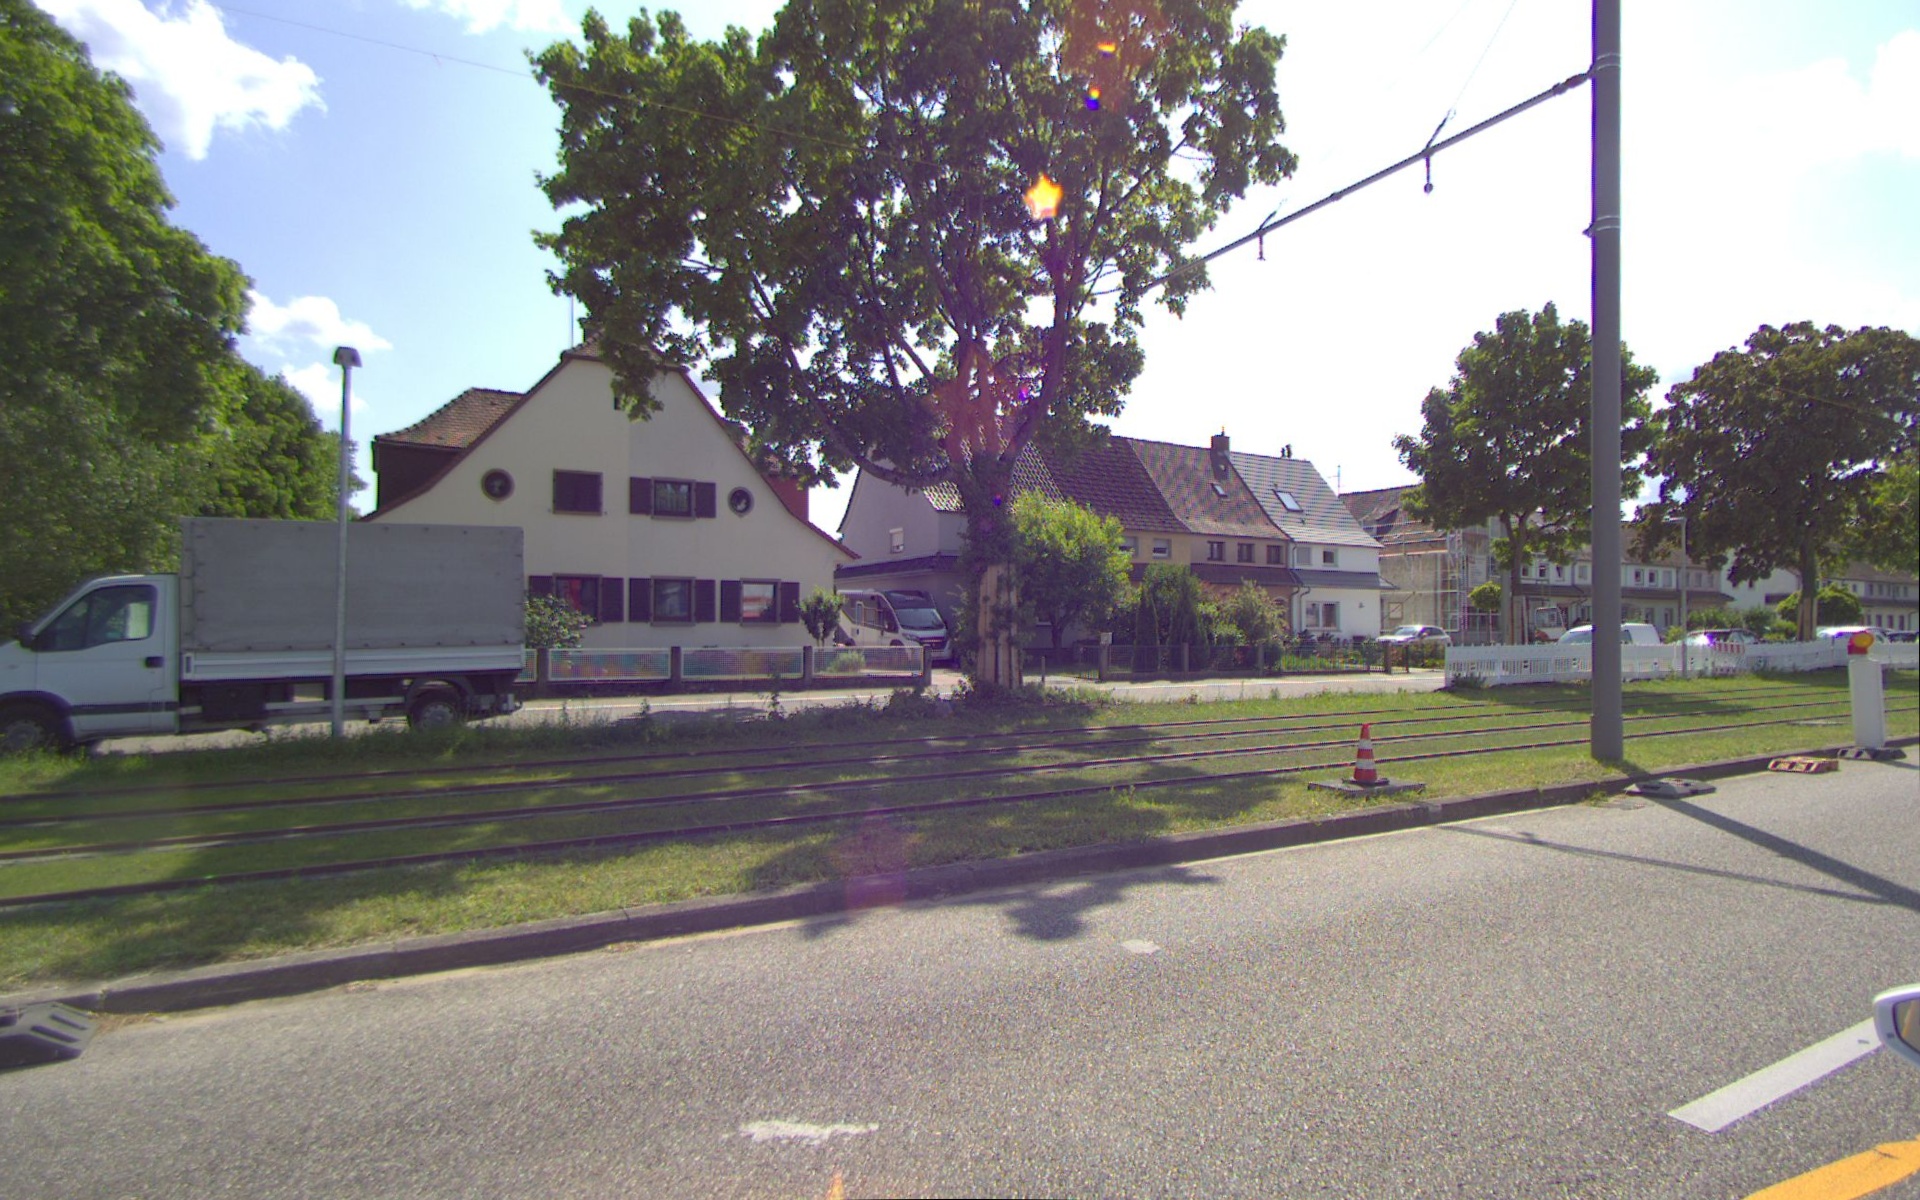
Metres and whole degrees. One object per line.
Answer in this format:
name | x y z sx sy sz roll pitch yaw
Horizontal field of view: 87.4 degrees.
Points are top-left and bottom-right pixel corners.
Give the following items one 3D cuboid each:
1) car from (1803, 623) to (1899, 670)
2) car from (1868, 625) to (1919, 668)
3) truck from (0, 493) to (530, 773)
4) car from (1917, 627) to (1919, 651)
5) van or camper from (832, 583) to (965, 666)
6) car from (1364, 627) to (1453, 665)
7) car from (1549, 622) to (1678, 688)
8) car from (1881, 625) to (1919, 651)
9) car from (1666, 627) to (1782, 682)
car | 34.961 1.801 39.413 3.814 1.762 1.691 1 -2 -30
car | 40.385 1.959 42.601 3.814 1.762 1.691 1 -2 -30
truck | -8.800 0.415 12.932 5.805 3.027 1.994 1 -2 -30
car | 72.129 2.842 73.670 4.013 1.762 1.691 1 -2 -30
van or camper | -2.355 0.908 36.649 2.224 2.745 5.963 1 -2 -33
car | 19.885 1.992 44.479 3.814 1.614 1.691 1 -2 -30
car | 19.498 1.604 29.960 3.814 1.841 1.691 1 -2 -30
car | 66.746 2.678 70.734 4.013 1.762 1.691 1 -2 -30
car | 25.742 1.799 33.827 4.006 1.762 1.691 1 -2 -30
